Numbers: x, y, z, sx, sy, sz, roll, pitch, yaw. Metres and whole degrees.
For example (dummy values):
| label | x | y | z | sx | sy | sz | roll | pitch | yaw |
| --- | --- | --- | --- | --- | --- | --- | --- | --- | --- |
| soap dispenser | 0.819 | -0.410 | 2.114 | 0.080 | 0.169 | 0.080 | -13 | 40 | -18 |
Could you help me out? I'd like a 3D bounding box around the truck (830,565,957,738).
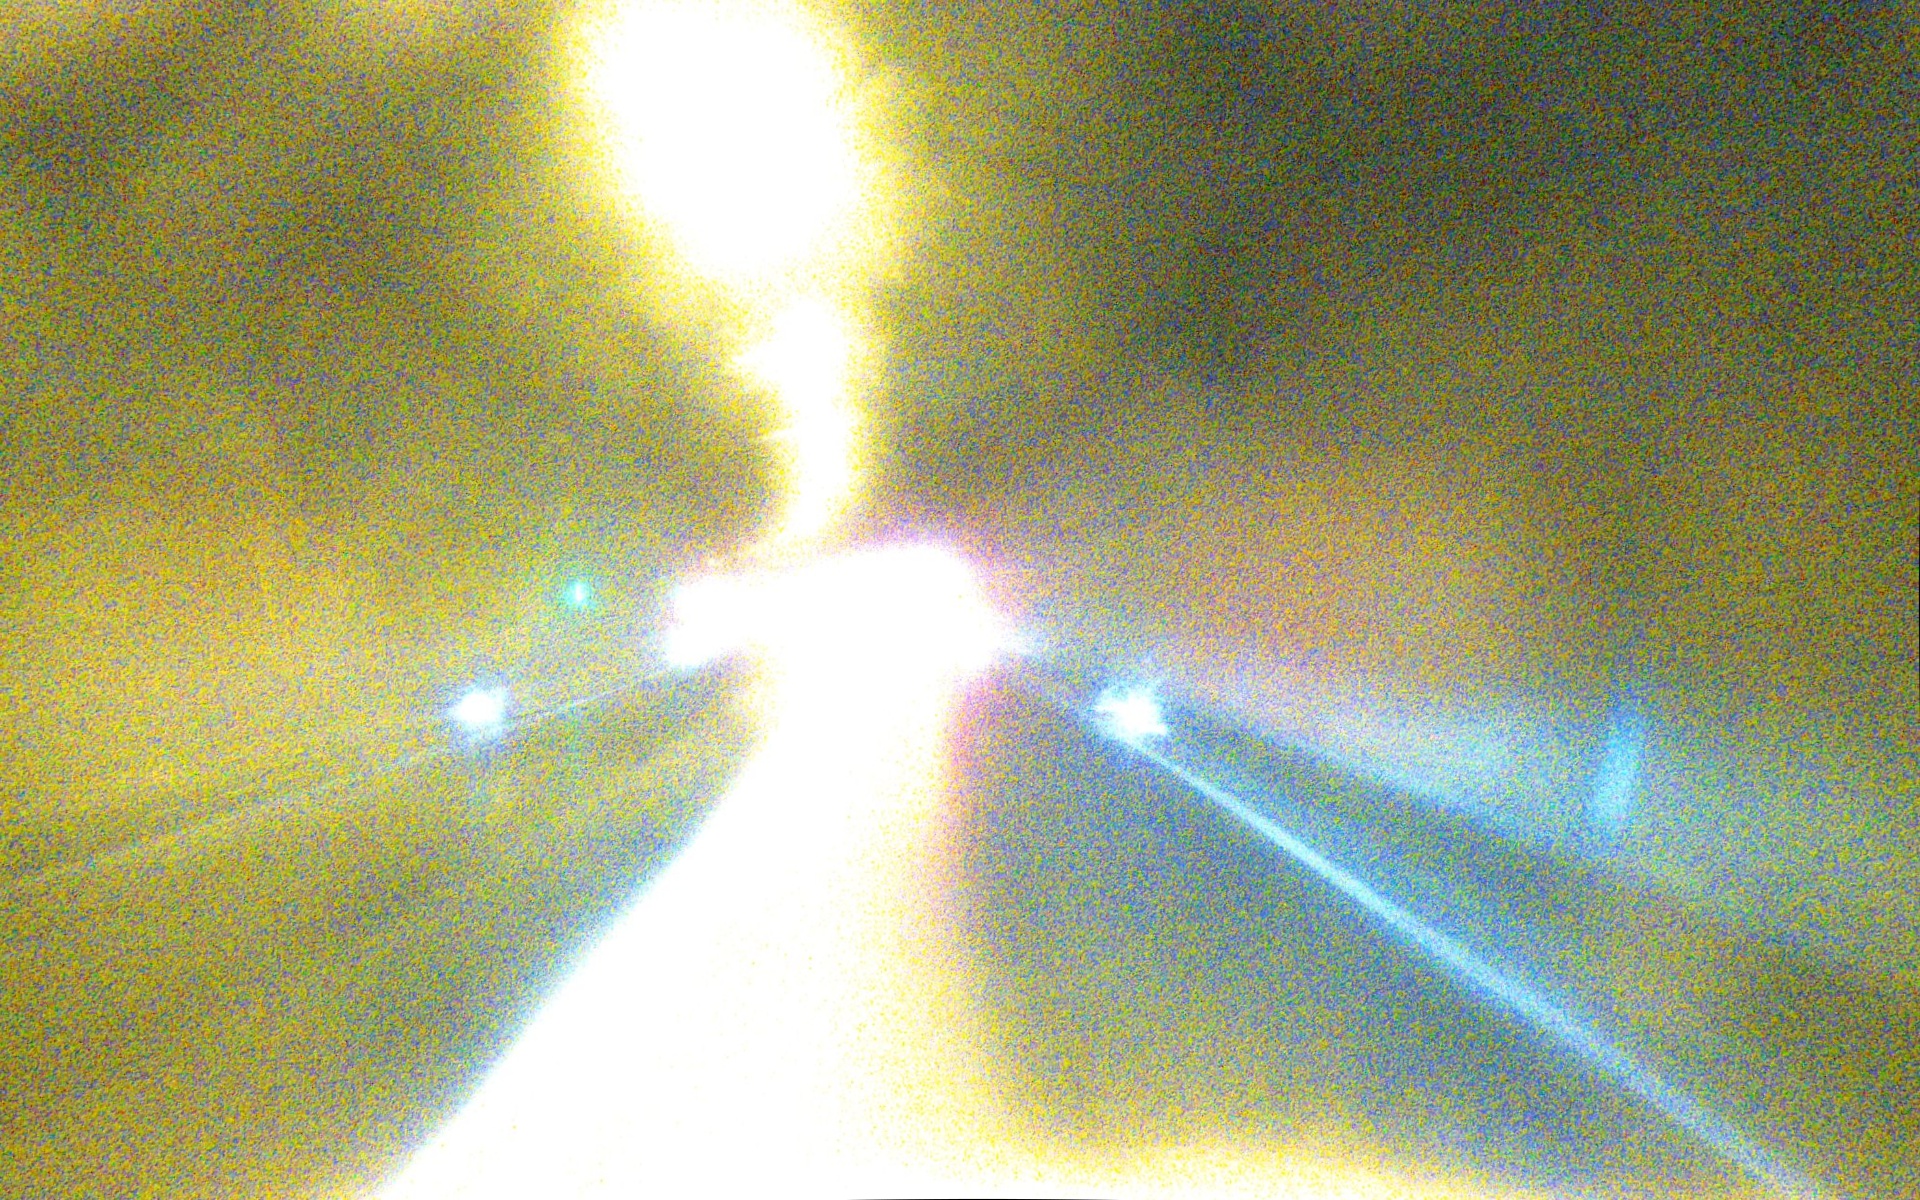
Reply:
| label | x | y | z | sx | sy | sz | roll | pitch | yaw |
| --- | --- | --- | --- | --- | --- | --- | --- | --- | --- |
| truck | -1.353 | 0.946 | 33.889 | 2.217 | 3.063 | 7.411 | 2 | 0 | -2 |
